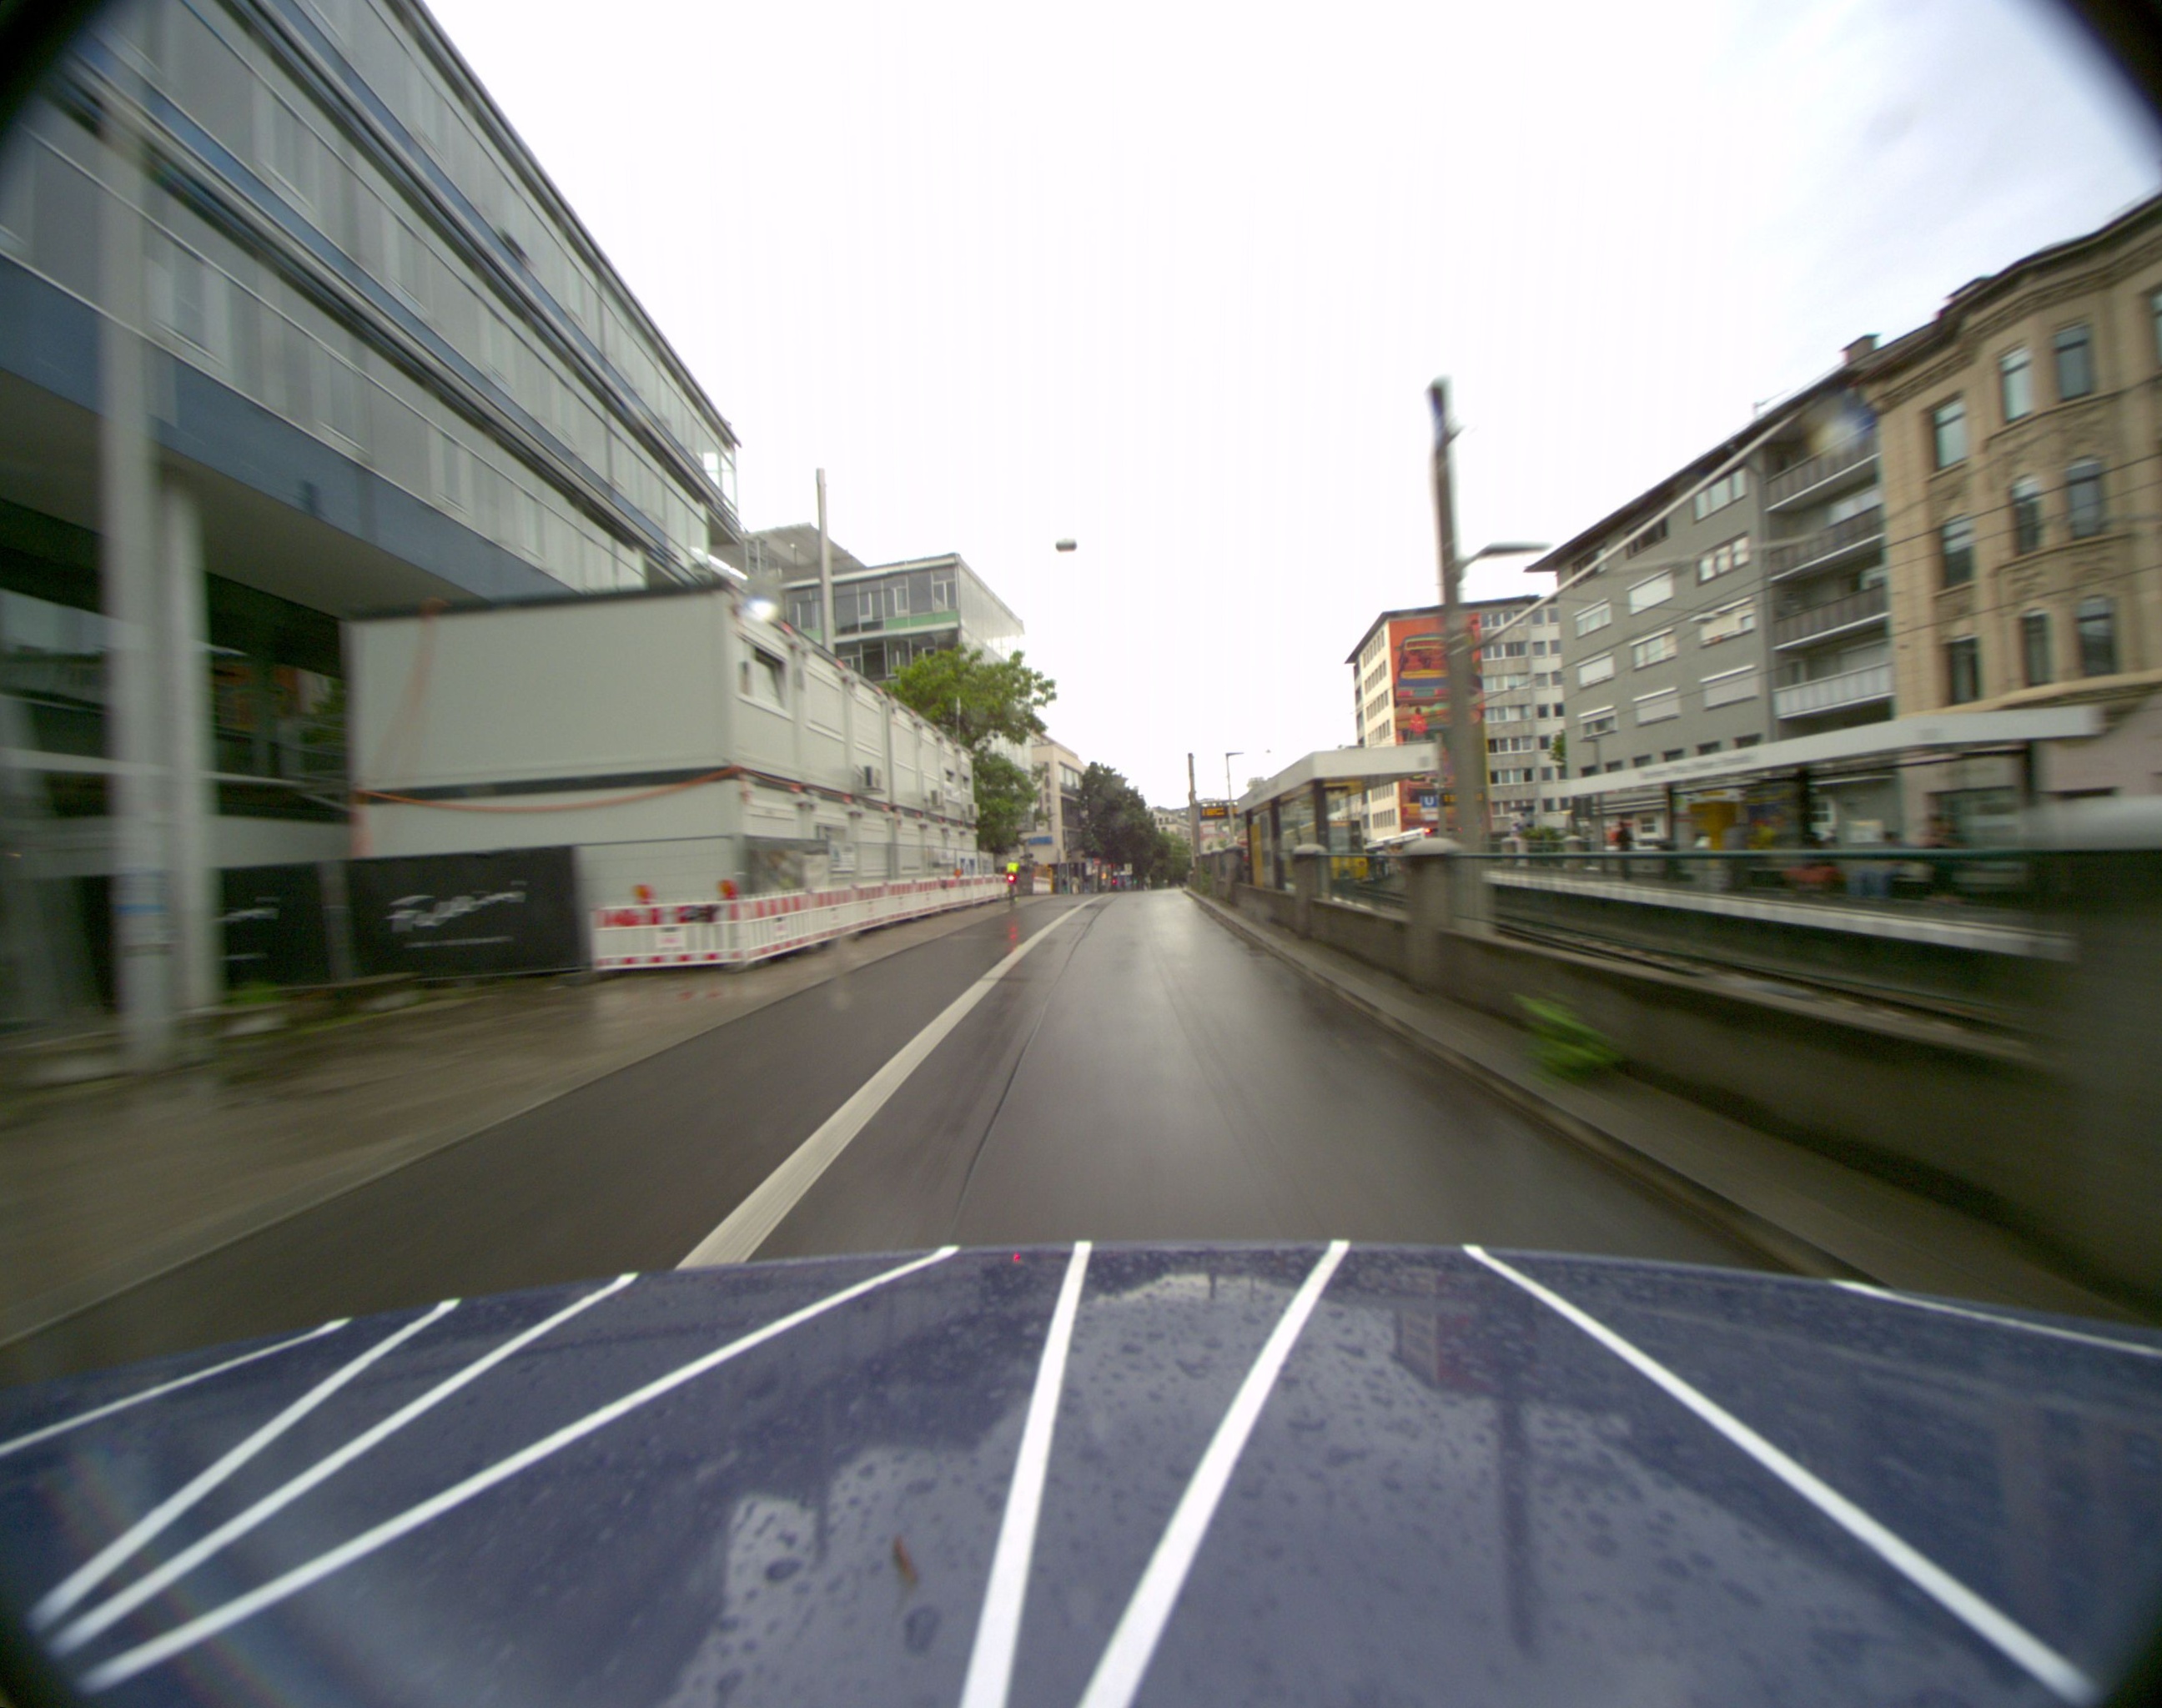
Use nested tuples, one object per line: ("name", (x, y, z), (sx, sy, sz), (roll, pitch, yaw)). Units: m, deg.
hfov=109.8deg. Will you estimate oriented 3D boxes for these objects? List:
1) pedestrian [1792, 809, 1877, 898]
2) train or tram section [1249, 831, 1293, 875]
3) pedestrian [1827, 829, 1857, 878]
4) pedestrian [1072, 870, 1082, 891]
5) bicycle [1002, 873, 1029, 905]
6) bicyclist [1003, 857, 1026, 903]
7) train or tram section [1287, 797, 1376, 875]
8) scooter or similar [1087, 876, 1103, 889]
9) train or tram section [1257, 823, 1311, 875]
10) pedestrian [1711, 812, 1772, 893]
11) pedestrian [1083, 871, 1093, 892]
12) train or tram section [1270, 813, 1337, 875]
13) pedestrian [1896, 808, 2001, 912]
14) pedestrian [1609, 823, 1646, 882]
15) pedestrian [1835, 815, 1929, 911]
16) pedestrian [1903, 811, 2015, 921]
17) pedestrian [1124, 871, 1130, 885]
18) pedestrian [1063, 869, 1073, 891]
("pedestrian", (14.423, -0.015, 14.568), (0.773, 1.639, 0.778), (3, 1, 9))
("train or tram section", (17.620, 0.031, 70.957), (2.784, 3.669, 8.983), (-4, -2, 7))
("pedestrian", (26.498, -0.016, 26.462), (0.422, 1.672, 0.608), (-4, -1, 16))
("pedestrian", (-0.296, 2.190, 63.015), (0.720, 1.751, 0.959), (-3, -1, 0))
("bicycle", (-2.368, 1.261, 27.651), (0.663, 1.047, 2.057), (0, 1, 5))
("bicyclist", (-2.399, 0.936, 27.600), (0.663, 1.629, 0.793), (1, 1, 5))
("train or tram section", (13.832, -0.768, 42.828), (2.784, 3.669, 9.723), (-4, -2, 7))
("scooter or similar", (1.294, 2.614, 69.959), (1.385, 1.172, 0.511), (-3, -1, -22))
("train or tram section", (16.369, -0.235, 61.809), (2.784, 3.669, 9.518), (-4, -2, 7))
("pedestrian", (14.044, -0.024, 16.174), (0.634, 1.650, 0.683), (-3, 0, 8))
("pedestrian", (0.587, 2.294, 63.589), (0.720, 1.751, 0.959), (-3, -1, 0))
("train or tram section", (15.124, -0.504, 52.378), (2.784, 3.669, 9.518), (-4, -2, 7))
("pedestrian", (14.455, 0.096, 12.685), (0.773, 1.639, 0.778), (3, 1, 9))
("pedestrian", (14.529, -0.040, 20.207), (0.559, 1.528, 0.517), (-3, 1, 5))
("pedestrian", (14.283, 0.150, 13.570), (0.773, 1.639, 0.778), (3, 1, 9))
("pedestrian", (13.747, 0.180, 11.930), (0.678, 1.639, 0.896), (2, 1, 9))
("pedestrian", (5.571, 2.888, 91.700), (0.559, 1.613, 0.485), (-4, -3, 10))
("pedestrian", (-1.101, 2.168, 63.560), (0.599, 1.751, 0.846), (-3, -1, 7))
